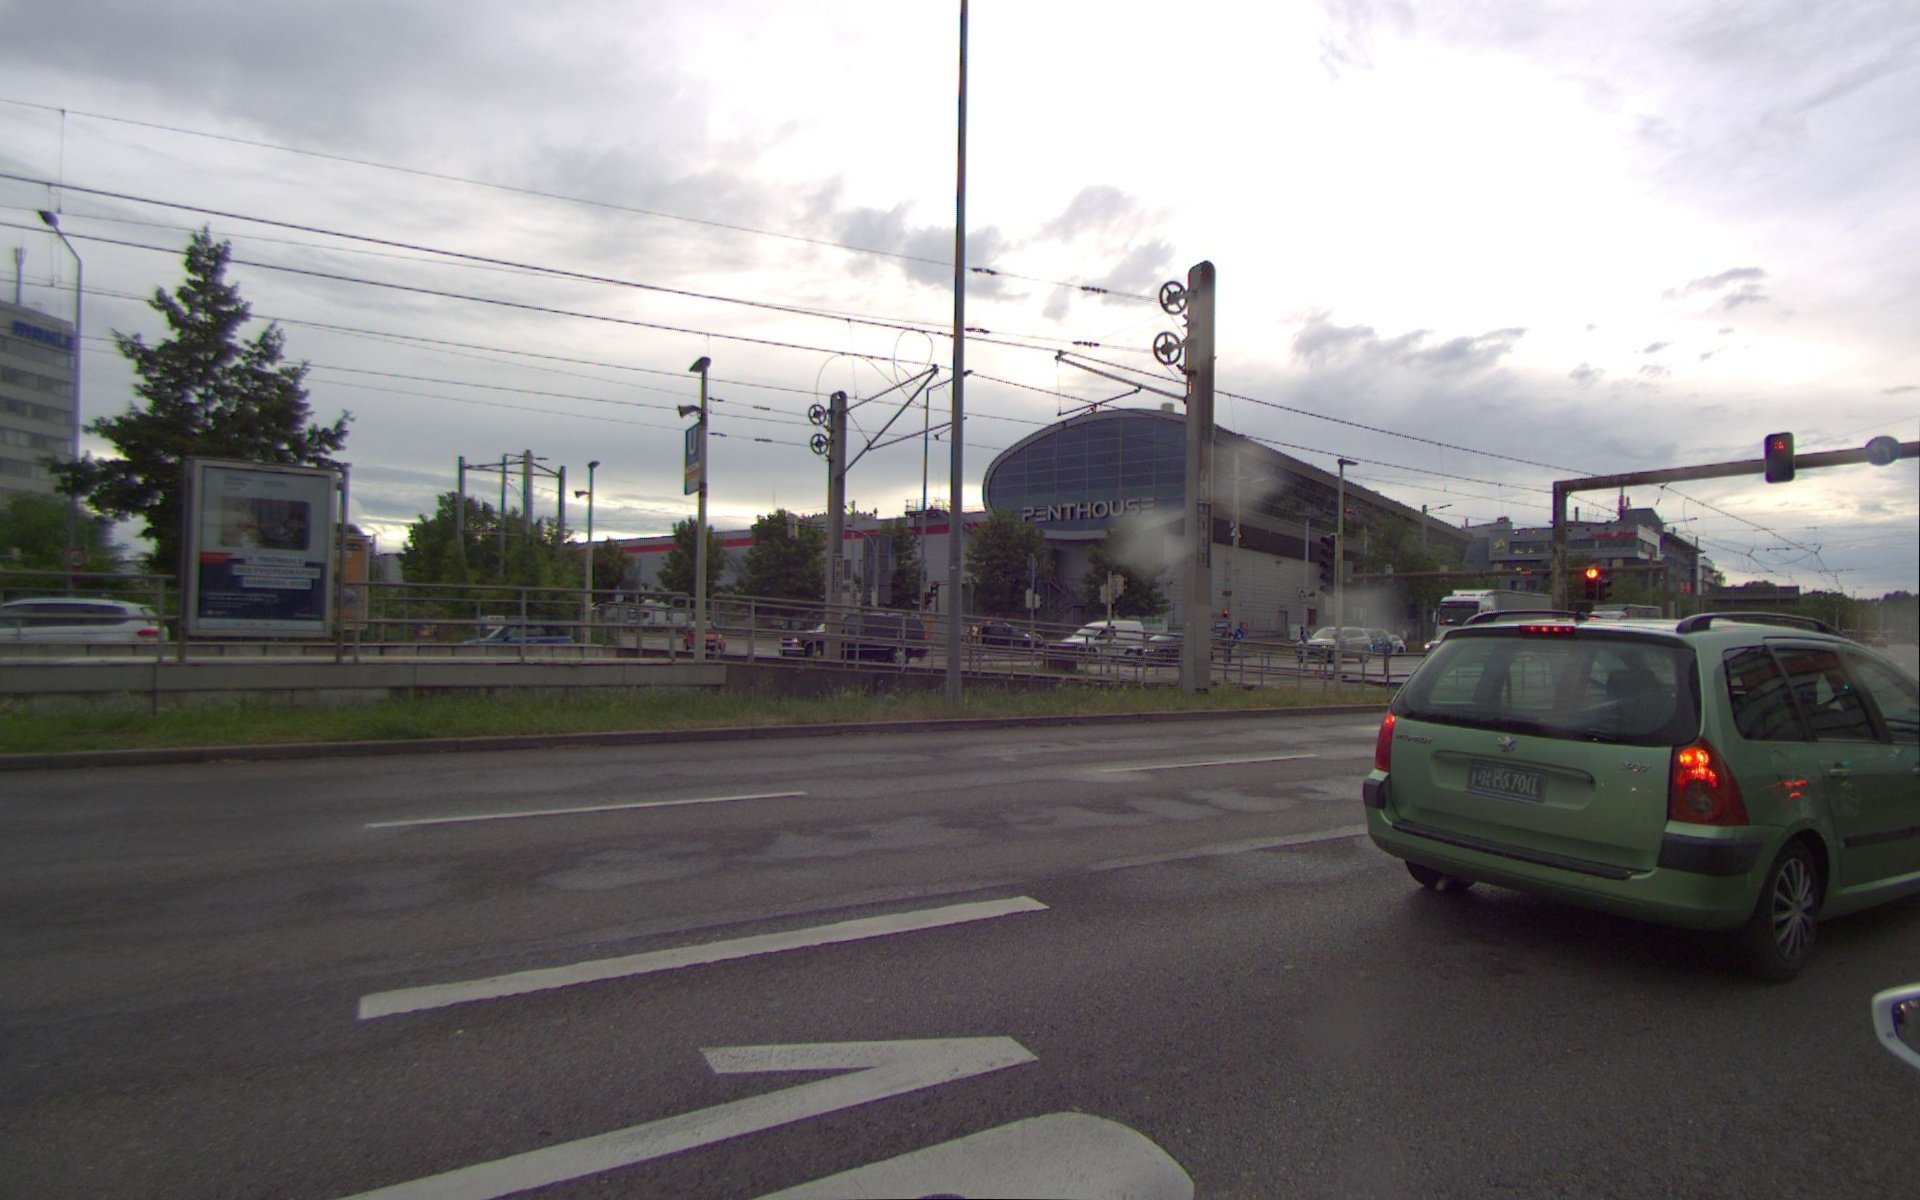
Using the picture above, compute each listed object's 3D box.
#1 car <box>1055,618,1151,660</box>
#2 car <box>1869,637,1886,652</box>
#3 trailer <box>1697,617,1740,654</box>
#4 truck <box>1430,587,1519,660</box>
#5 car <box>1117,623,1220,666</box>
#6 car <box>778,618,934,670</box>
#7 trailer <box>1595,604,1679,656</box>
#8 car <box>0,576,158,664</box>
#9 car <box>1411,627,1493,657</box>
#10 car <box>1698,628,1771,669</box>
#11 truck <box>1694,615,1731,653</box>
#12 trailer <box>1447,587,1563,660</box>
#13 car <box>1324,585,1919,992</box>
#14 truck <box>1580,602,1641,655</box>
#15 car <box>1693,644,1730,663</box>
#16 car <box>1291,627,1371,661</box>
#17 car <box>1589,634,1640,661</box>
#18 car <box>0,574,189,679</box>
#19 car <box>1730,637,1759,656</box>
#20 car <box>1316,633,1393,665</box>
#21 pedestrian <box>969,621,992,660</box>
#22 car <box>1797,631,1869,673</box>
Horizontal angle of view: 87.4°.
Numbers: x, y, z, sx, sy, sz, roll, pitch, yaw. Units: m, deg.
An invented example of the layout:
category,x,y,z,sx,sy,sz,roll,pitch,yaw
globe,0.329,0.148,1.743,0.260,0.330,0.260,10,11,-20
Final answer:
category,x,y,z,sx,sy,sz,roll,pitch,yaw
car,6.228,1.698,43.595,4.038,1.648,1.563,3,0,-33
car,138.140,6.671,151.216,1.754,2.040,4.321,3,0,45
trailer,84.730,4.000,112.109,2.695,3.905,11.168,-2,-4,42
truck,30.208,1.388,58.909,5.943,4.049,2.805,2,-2,-43
car,8.485,1.818,40.801,3.957,1.522,1.777,3,0,-32
car,-3.411,1.463,33.302,4.877,1.517,1.668,3,0,-31
trailer,58.827,2.682,87.088,12.641,4.178,2.628,3,-3,-40
car,-19.226,0.376,20.500,4.221,1.688,1.520,3,0,-31
car,23.991,2.074,48.917,4.376,1.281,1.893,3,0,-38
car,40.919,2.540,53.042,4.302,2.040,1.762,2,1,-34
truck,80.668,3.698,107.602,2.715,3.854,5.385,-2,-4,41
trailer,34.004,1.498,62.376,11.358,4.161,2.769,2,-2,-42
car,4.193,0.780,5.554,4.353,1.488,1.686,3,0,-31
truck,53.547,2.407,82.612,6.137,4.184,2.644,3,-3,-41
car,68.866,4.850,92.024,4.533,1.576,1.885,3,0,-43
car,17.599,2.101,47.563,4.119,1.481,1.724,3,0,-40
car,44.489,3.214,68.236,4.065,1.674,1.870,3,0,-42
car,-18.970,0.539,20.979,4.299,2.040,1.763,3,0,-32
car,82.991,4.868,106.222,1.972,1.862,4.880,1,0,43
car,22.185,2.759,56.456,4.277,1.650,1.980,3,0,-35
pedestrian,0.935,1.845,45.552,0.731,1.728,0.721,3,-1,-33
car,46.377,2.738,53.339,4.302,2.040,1.762,2,1,-34
